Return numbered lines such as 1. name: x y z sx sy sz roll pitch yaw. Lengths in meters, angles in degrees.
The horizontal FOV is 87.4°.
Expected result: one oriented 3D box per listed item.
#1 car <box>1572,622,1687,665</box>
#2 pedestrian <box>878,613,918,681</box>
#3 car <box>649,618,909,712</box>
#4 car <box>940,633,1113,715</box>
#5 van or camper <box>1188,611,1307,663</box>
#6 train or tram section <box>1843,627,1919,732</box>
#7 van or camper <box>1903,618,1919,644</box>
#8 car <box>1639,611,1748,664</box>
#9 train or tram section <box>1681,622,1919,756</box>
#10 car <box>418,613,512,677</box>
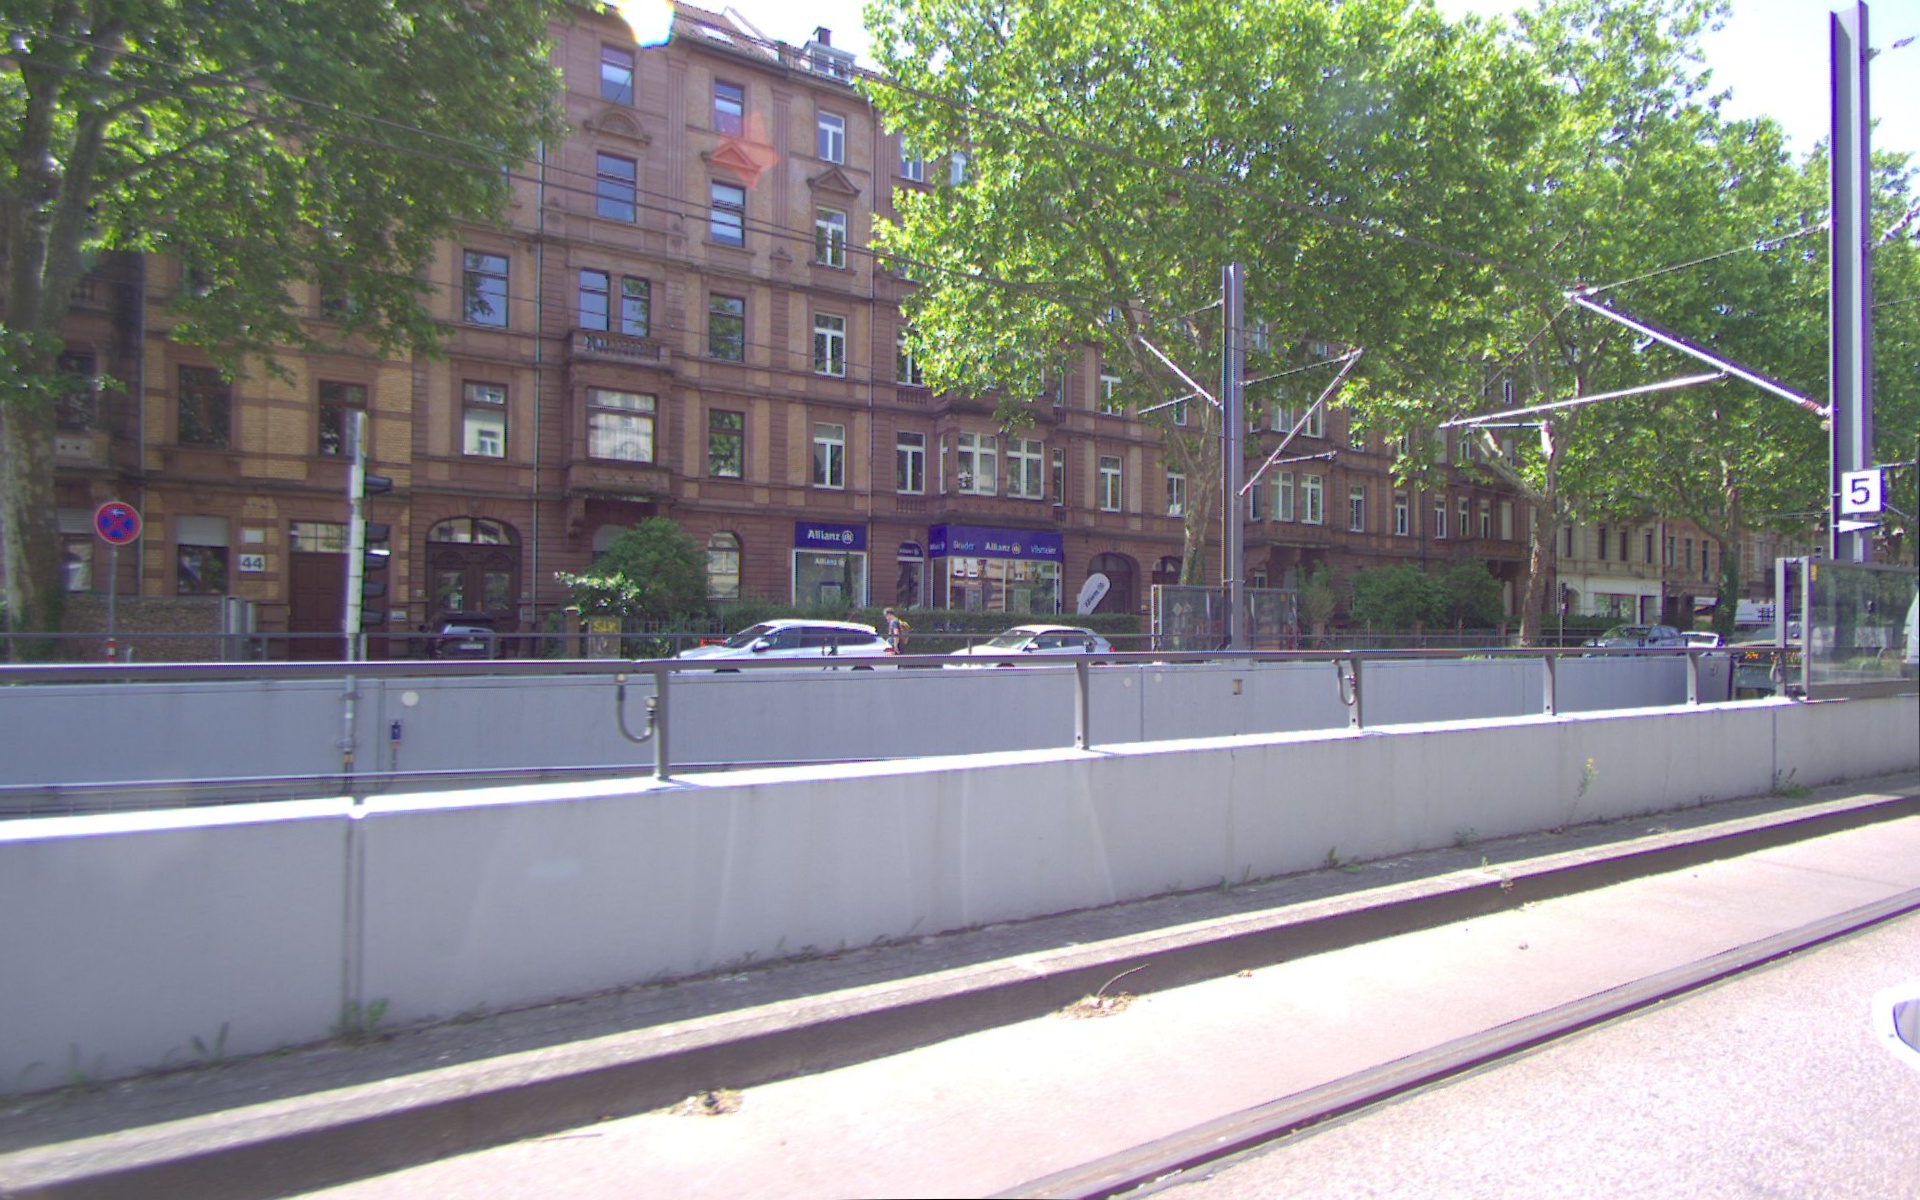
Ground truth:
1. car: 23.946 1.528 35.908 4.149 1.419 1.842 1 -1 -31
2. pedestrian: -1.329 0.999 21.556 0.717 1.445 0.515 0 -1 20
3. car: -3.523 1.218 19.841 4.664 1.646 1.983 1 -1 -31
4. car: 1.529 1.609 22.803 3.665 1.707 1.645 1 -1 -31
5. van or camper: 10.871 1.366 38.308 1.905 1.861 4.532 1 -1 -24
6. train or tram section: 26.841 2.038 26.734 7.909 2.542 2.716 1 -1 -30
7. van or camper: 76.075 2.420 77.858 1.978 2.040 3.965 1 -1 -32
8. car: 28.120 1.407 38.487 4.101 1.929 1.983 1 -1 -31
9. train or tram section: 19.794 1.810 22.545 8.417 2.542 2.716 1 -1 -30
10. car: -12.177 1.067 24.610 1.635 1.444 3.461 1 -2 -33
